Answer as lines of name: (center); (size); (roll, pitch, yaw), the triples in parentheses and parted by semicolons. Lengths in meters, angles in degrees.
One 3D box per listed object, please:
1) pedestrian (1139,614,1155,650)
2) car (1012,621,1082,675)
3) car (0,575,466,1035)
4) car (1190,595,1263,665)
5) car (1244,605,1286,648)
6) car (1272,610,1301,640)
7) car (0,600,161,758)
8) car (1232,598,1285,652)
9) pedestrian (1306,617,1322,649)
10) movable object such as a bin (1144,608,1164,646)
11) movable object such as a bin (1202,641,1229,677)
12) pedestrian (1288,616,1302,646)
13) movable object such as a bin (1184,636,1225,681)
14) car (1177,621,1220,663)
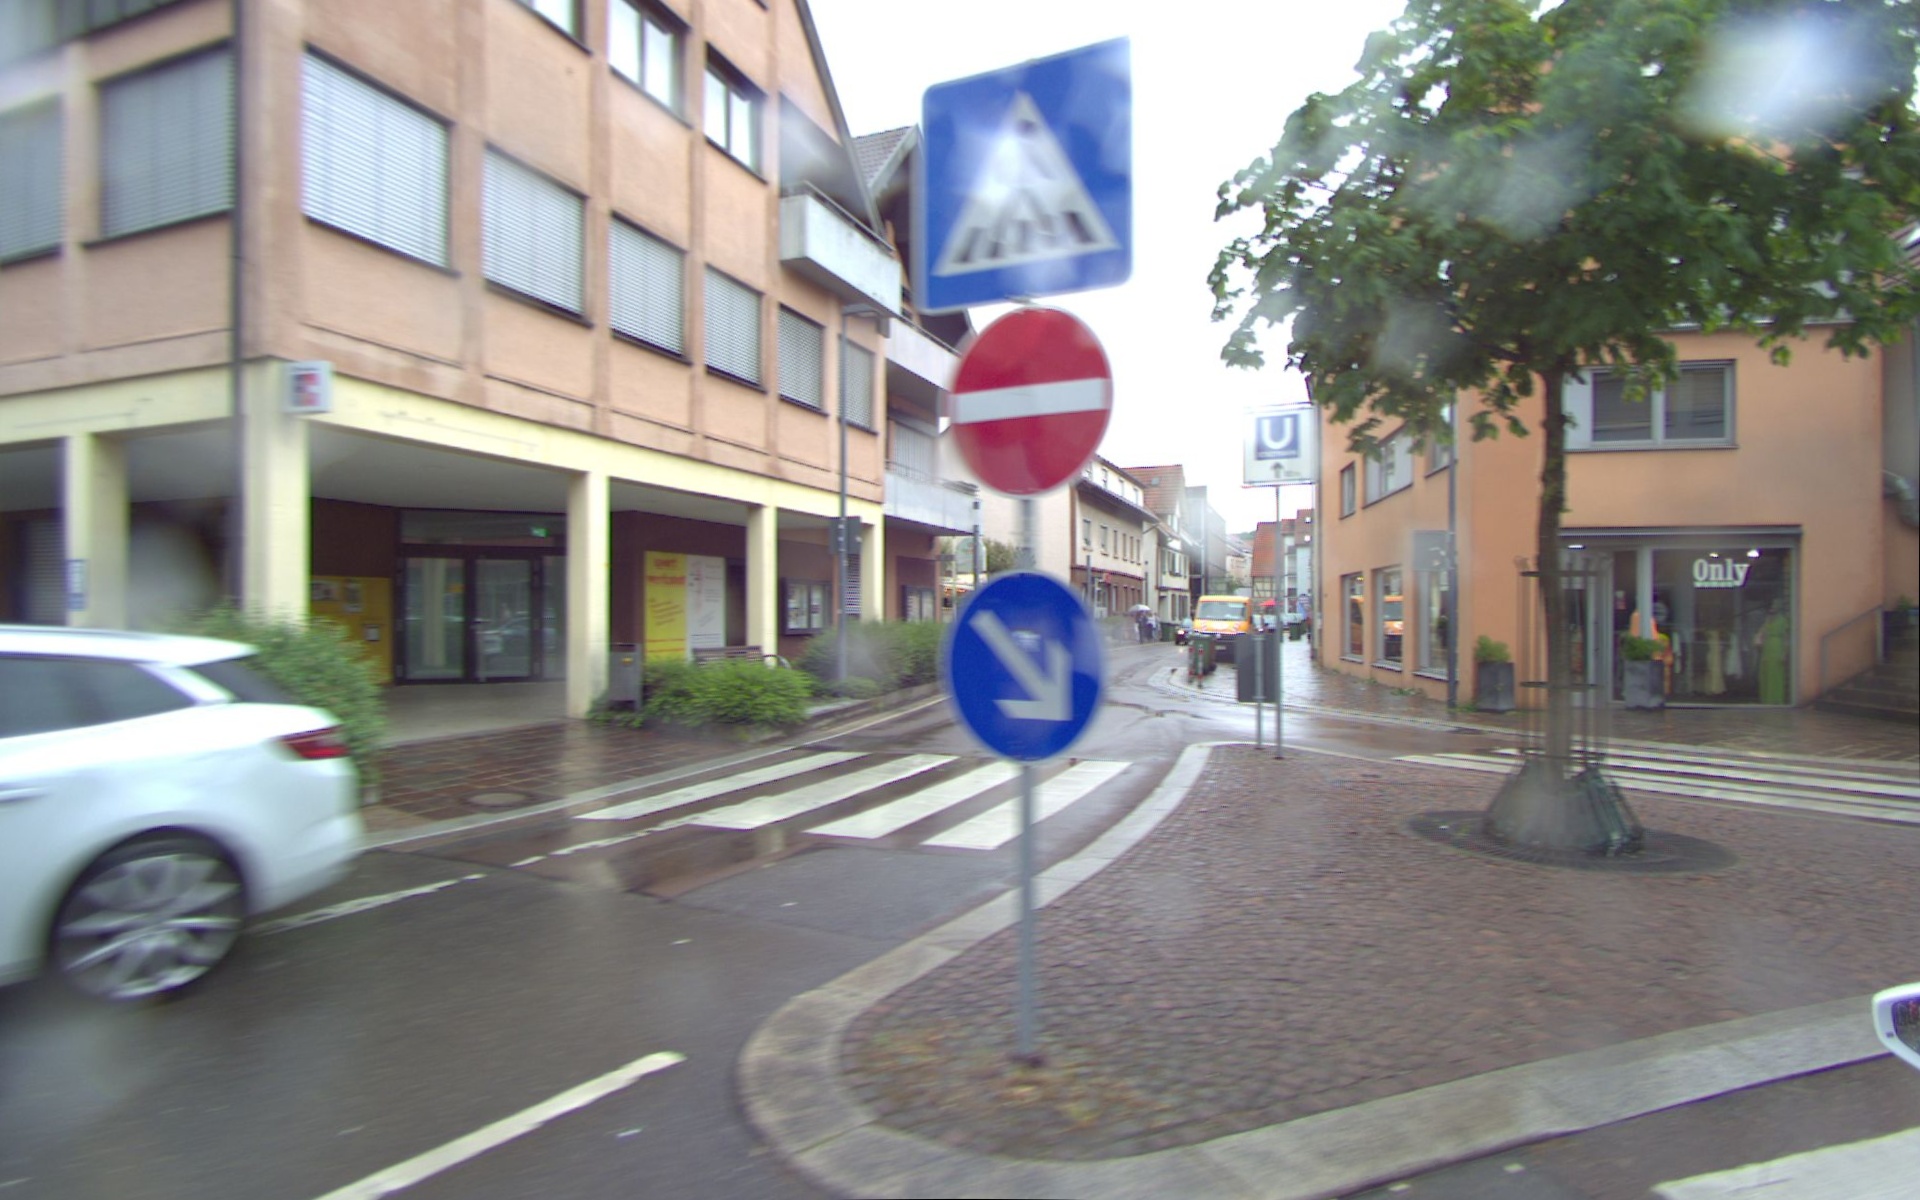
pedestrian: (9.454, 1.614, 50.733); (0.739, 1.817, 0.803); (1, 0, 8)
car: (3.528, 1.944, 41.447); (1.964, 2.040, 3.852); (2, -1, -9)
car: (-4.355, 0.668, 3.117); (1.890, 1.511, 4.855); (-1, -2, 30)
car: (9.930, 1.066, 37.046); (2.167, 2.329, 5.962); (1, -1, 19)
car: (18.180, 1.554, 59.649); (2.167, 2.329, 5.962); (1, -1, 19)
car: (26.967, 2.063, 82.802); (2.167, 2.329, 5.962); (1, -1, 19)
car: (-10.423, 0.750, 9.573); (1.801, 1.528, 3.998); (1, -1, 23)
car: (14.243, 1.162, 47.714); (2.167, 2.329, 5.962); (1, -1, 19)
pedestrian: (20.383, 1.875, 57.846); (0.739, 1.817, 0.802); (1, 0, 17)
movable object such as a bin: (10.544, 1.446, 54.623); (0.992, 2.040, 0.828); (1, 0, 9)
movable object such as a bin: (7.483, 1.733, 29.454); (0.640, 1.013, 0.587); (1, 0, 4)
pedestrian: (20.674, 1.932, 61.977); (0.739, 1.817, 0.802); (1, 0, 17)
movable object such as a bin: (6.664, 1.576, 27.364); (0.930, 1.174, 0.775); (1, 0, 3)
car: (12.450, 2.143, 52.322); (1.960, 2.040, 4.397); (1, -1, 16)
